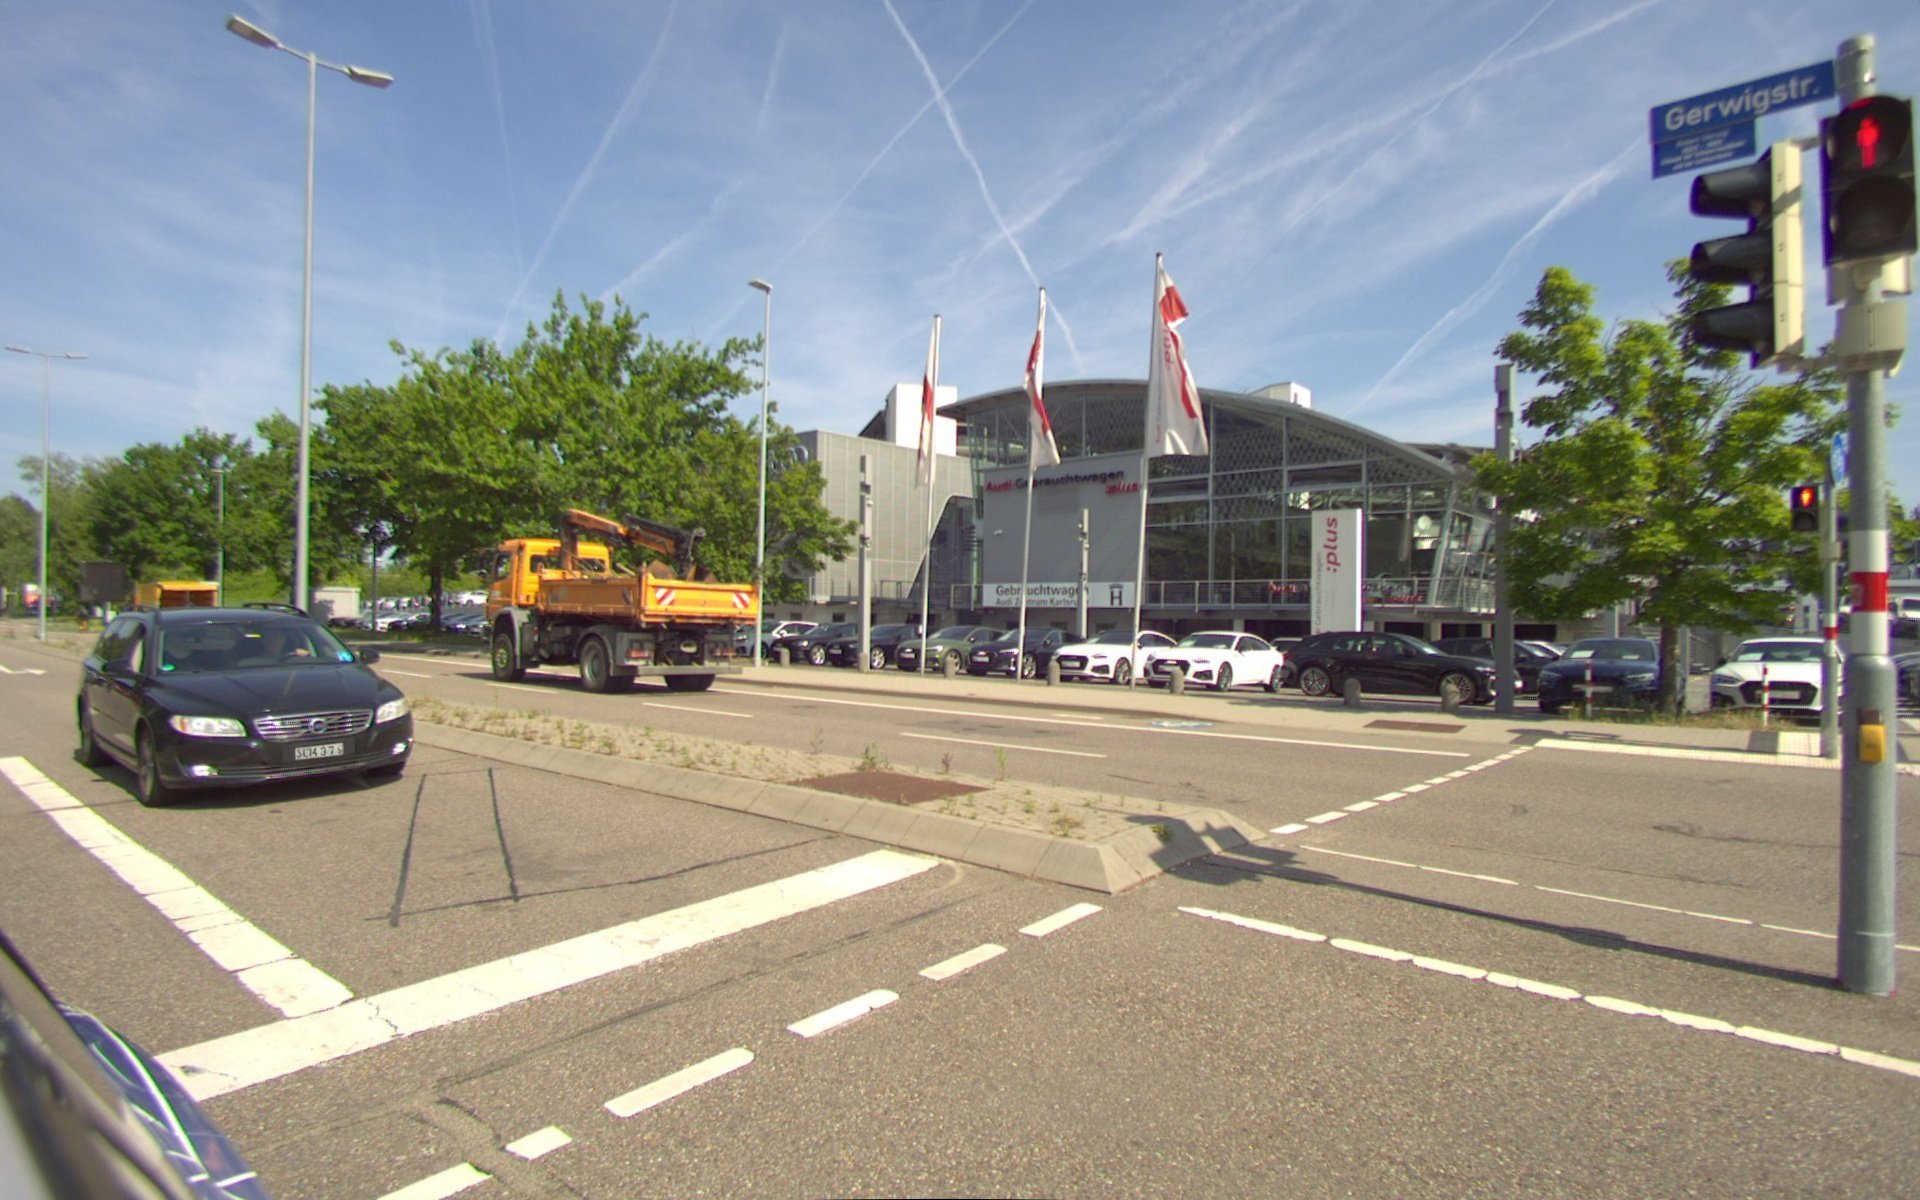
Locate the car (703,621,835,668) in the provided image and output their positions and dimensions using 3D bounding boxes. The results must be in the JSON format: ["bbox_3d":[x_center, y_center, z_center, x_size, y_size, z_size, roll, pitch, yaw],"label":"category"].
[{"bbox_3d":[-6.427,1.549,34.431,1.801,1.405,4.172,0,-4,41],"label":"car"}]

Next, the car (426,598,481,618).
[{"bbox_3d":[-46.638,0.753,93.197,1.690,1.510,4.141,-1,-4,42],"label":"car"}]

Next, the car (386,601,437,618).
[{"bbox_3d":[-54.593,0.961,100.798,1.690,1.510,4.141,-1,-4,42],"label":"car"}]

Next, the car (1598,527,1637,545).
[{"bbox_3d":[82.582,-8.028,127.097,3.996,2.029,1.974,1,2,39],"label":"car"}]

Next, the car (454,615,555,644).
[{"bbox_3d":[-22.302,1.463,49.685,1.690,1.204,4.141,-1,-4,42],"label":"car"}]

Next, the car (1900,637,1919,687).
[{"bbox_3d":[30.255,1.779,29.231,4.399,1.453,1.769,-3,-4,41],"label":"car"}]

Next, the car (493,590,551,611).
[{"bbox_3d":[-36.731,0.086,84.934,1.690,1.510,4.141,-1,-4,42],"label":"car"}]

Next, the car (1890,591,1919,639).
[{"bbox_3d":[40.573,0.671,42.343,2.087,1.922,4.487,4,2,39],"label":"car"}]

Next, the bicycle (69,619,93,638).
[{"bbox_3d":[-55.428,1.800,63.812,1.763,1.159,0.567,0,-2,30],"label":"bicycle"}]

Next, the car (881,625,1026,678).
[{"bbox_3d":[-0.120,1.505,28.905,1.854,1.345,4.131,0,-4,41],"label":"car"}]

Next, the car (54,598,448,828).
[{"bbox_3d":[-6.613,0.787,9.186,4.867,1.533,1.858,-1,0,42],"label":"car"}]

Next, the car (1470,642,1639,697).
[{"bbox_3d":[17.498,1.989,29.862,4.063,1.389,1.769,0,-2,41],"label":"car"}]

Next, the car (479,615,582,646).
[{"bbox_3d":[-20.370,1.464,48.103,1.690,1.256,4.141,-1,-4,42],"label":"car"}]

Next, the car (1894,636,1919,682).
[{"bbox_3d":[32.028,1.818,31.247,4.556,1.453,1.769,-3,-3,41],"label":"car"}]

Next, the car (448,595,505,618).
[{"bbox_3d":[-42.898,0.566,89.896,1.690,1.745,4.141,-1,-4,42],"label":"car"}]

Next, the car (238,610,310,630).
[{"bbox_3d":[-52.088,1.521,76.899,1.690,1.333,4.141,-1,-4,42],"label":"car"}]

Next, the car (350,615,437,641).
[{"bbox_3d":[-33.613,1.653,60.146,1.690,1.335,4.141,-1,-4,42],"label":"car"}]

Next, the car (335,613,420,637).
[{"bbox_3d":[-35.549,1.555,61.882,1.690,1.256,4.141,-1,-4,42],"label":"car"}]

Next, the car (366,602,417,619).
[{"bbox_3d":[-58.276,1.057,103.730,1.690,1.510,4.141,-1,-4,42],"label":"car"}]

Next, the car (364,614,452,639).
[{"bbox_3d":[-31.863,1.546,58.495,1.690,1.265,4.141,-1,-4,42],"label":"car"}]

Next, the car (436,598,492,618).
[{"bbox_3d":[-44.885,0.727,91.657,1.690,1.510,4.141,-1,-4,42],"label":"car"}]

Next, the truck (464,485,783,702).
[{"bbox_3d":[-7.145,-0.004,20.812,7.578,3.708,2.716,0,-4,43],"label":"truck"}]

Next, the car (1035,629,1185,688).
[{"bbox_3d":[3.826,1.489,25.339,1.868,1.329,3.945,0,-4,41],"label":"car"}]

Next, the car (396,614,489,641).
[{"bbox_3d":[-27.999,1.488,54.828,1.690,1.269,4.141,-1,-4,42],"label":"car"}]

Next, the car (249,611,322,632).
[{"bbox_3d":[-50.119,1.608,75.233,1.690,1.333,4.141,-1,-4,42],"label":"car"}]

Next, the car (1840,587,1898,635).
[{"bbox_3d":[46.625,0.567,51.931,2.088,2.360,5.474,-1,-1,42],"label":"car"}]

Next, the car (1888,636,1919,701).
[{"bbox_3d":[24.722,1.553,23.334,4.774,1.517,1.769,-4,-4,41],"label":"car"}]

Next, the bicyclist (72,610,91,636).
[{"bbox_3d":[-55.365,1.447,63.761,0.907,1.608,0.572,0,-2,30],"label":"bicyclist"}]

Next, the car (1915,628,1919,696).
[{"bbox_3d":[19.571,1.222,17.291,4.594,1.626,1.794,-4,-4,42],"label":"car"}]

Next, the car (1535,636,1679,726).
[{"bbox_3d":[11.768,1.371,18.301,1.762,1.413,3.795,0,-2,40],"label":"car"}]

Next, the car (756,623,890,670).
[{"bbox_3d":[-4.359,1.526,32.684,1.834,1.365,4.069,0,-4,40],"label":"car"}]

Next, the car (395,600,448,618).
[{"bbox_3d":[-52.555,0.896,98.808,1.690,1.510,4.141,-1,-4,42],"label":"car"}]

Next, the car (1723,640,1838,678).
[{"bbox_3d":[33.444,2.411,41.264,3.958,1.453,1.803,1,-2,-19],"label":"car"}]

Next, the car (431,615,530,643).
[{"bbox_3d":[-24.212,1.465,51.228,1.690,1.215,4.141,-1,-4,42],"label":"car"}]

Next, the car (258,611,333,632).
[{"bbox_3d":[-48.041,1.572,73.213,1.690,1.333,4.141,-1,-4,42],"label":"car"}]

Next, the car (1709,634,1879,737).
[{"bbox_3d":[13.881,1.300,16.753,1.900,1.443,4.324,-1,-2,43],"label":"car"}]

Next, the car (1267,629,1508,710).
[{"bbox_3d":[9.018,1.398,21.574,4.424,1.507,1.778,-1,-2,42],"label":"car"}]

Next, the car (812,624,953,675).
[{"bbox_3d":[-2.301,1.542,30.931,1.828,1.365,4.237,0,-4,40],"label":"car"}]

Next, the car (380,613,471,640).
[{"bbox_3d":[-29.887,1.489,56.673,1.690,1.309,4.141,-1,-4,42],"label":"car"}]

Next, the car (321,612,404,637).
[{"bbox_3d":[-37.428,1.527,63.483,1.690,1.333,4.141,-1,-4,42],"label":"car"}]

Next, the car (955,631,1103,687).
[{"bbox_3d":[1.899,1.581,26.873,1.837,1.329,3.944,-1,-4,42],"label":"car"}]

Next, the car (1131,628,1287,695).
[{"bbox_3d":[5.863,1.449,23.512,1.877,1.380,4.029,0,-4,41],"label":"car"}]

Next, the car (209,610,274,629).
[{"bbox_3d":[-59.863,1.632,84.365,1.690,1.333,4.141,-1,-4,42],"label":"car"}]

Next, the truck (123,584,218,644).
[{"bbox_3d":[-37.154,0.670,47.537,6.671,2.645,2.350,-1,-2,42],"label":"truck"}]

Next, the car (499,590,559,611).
[{"bbox_3d":[-35.195,0.048,82.696,1.690,1.416,4.141,-1,-4,42],"label":"car"}]

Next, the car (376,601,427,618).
[{"bbox_3d":[-56.320,0.988,102.037,1.690,1.510,4.141,-1,-4,42],"label":"car"}]

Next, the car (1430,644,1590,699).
[{"bbox_3d":[15.222,1.940,28.094,3.681,1.316,1.588,0,-2,41],"label":"car"}]

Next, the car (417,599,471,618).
[{"bbox_3d":[-48.297,0.806,94.777,1.690,1.510,4.141,-1,-4,42],"label":"car"}]

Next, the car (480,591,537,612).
[{"bbox_3d":[-38.711,0.131,86.819,1.690,1.510,4.141,-1,-4,42],"label":"car"}]

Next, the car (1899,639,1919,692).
[{"bbox_3d":[28.490,1.721,27.184,4.629,1.453,1.769,-4,-4,41],"label":"car"}]

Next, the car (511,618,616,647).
[{"bbox_3d":[-18.112,1.509,46.343,1.719,1.131,4.141,-1,-4,42],"label":"car"}]

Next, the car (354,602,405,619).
[{"bbox_3d":[-60.336,1.072,105.235,1.690,1.510,4.141,-1,-4,42],"label":"car"}]
